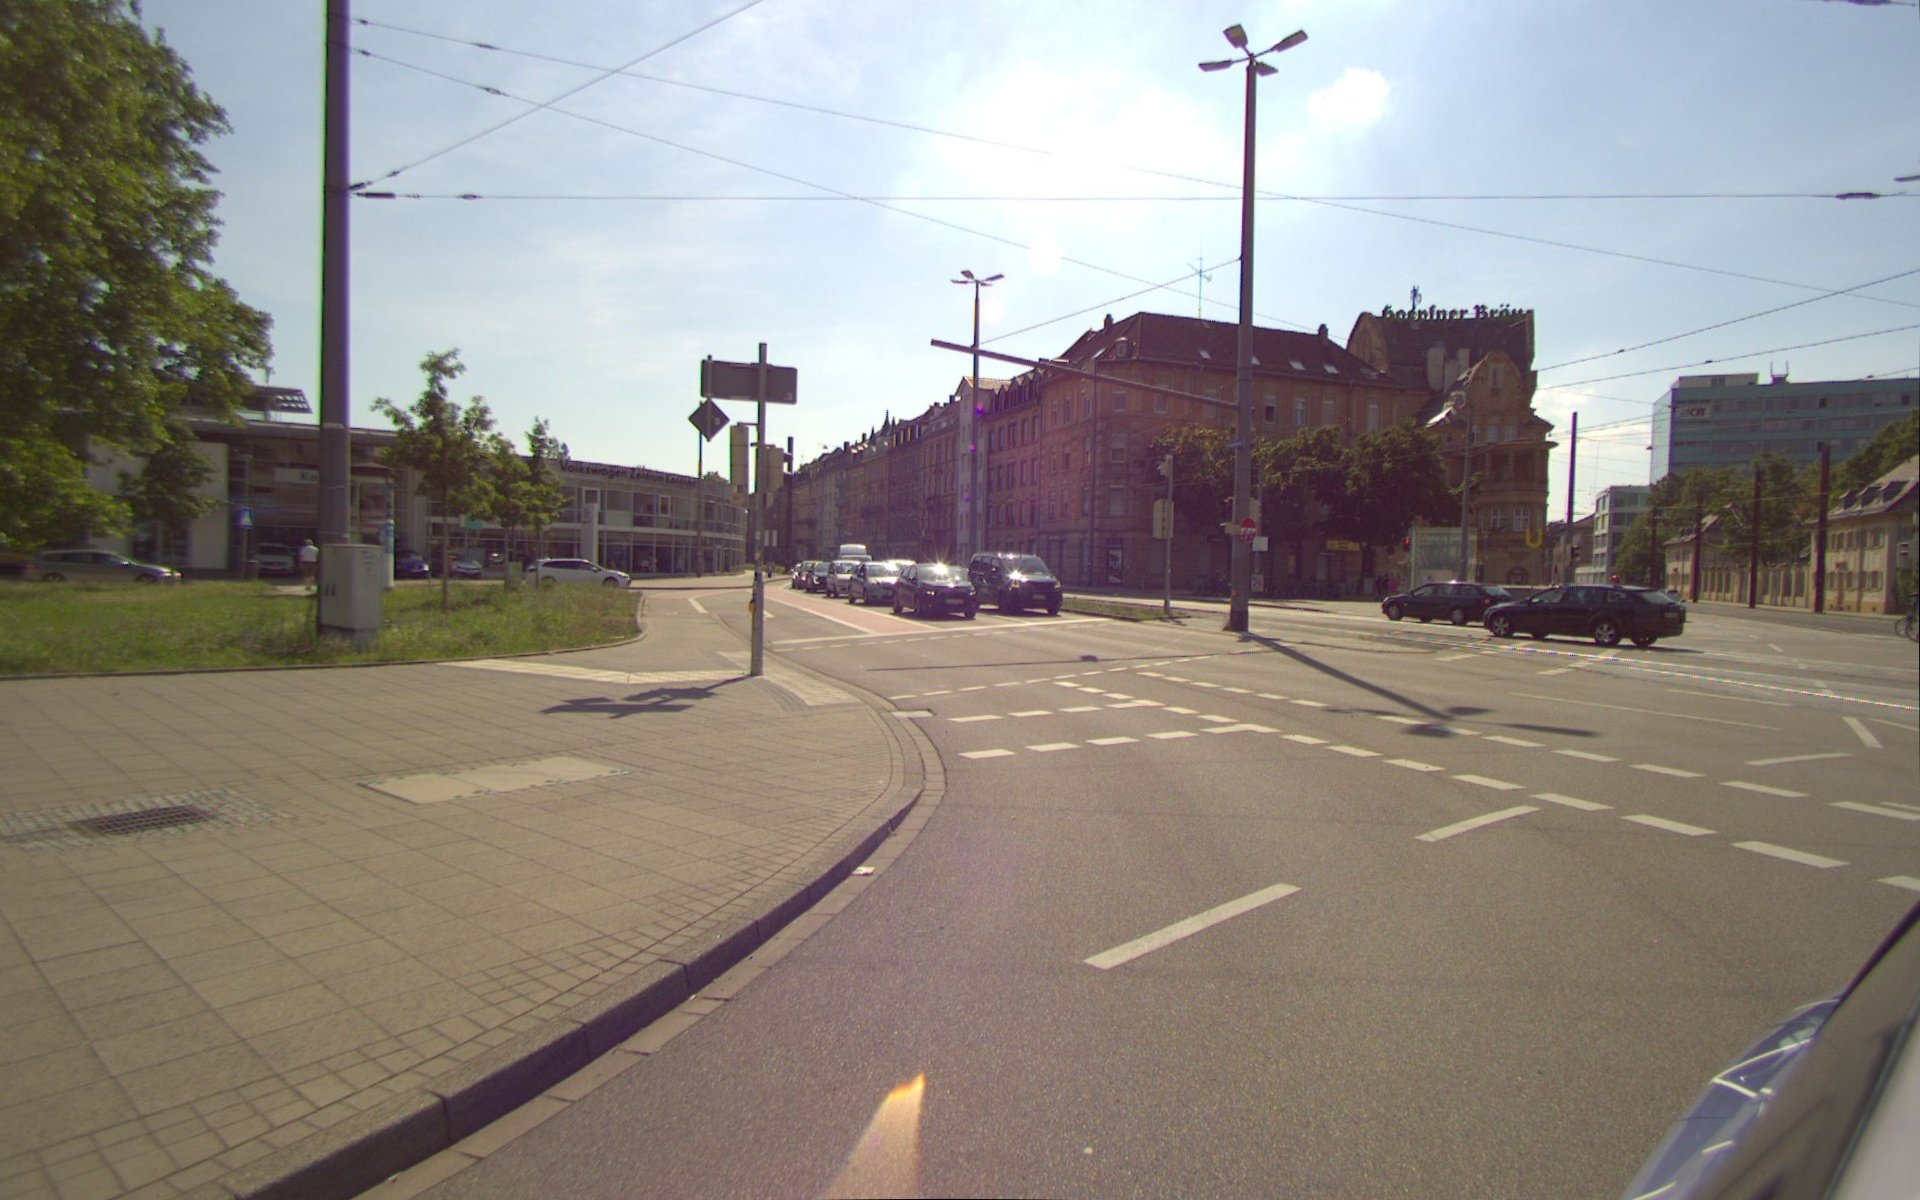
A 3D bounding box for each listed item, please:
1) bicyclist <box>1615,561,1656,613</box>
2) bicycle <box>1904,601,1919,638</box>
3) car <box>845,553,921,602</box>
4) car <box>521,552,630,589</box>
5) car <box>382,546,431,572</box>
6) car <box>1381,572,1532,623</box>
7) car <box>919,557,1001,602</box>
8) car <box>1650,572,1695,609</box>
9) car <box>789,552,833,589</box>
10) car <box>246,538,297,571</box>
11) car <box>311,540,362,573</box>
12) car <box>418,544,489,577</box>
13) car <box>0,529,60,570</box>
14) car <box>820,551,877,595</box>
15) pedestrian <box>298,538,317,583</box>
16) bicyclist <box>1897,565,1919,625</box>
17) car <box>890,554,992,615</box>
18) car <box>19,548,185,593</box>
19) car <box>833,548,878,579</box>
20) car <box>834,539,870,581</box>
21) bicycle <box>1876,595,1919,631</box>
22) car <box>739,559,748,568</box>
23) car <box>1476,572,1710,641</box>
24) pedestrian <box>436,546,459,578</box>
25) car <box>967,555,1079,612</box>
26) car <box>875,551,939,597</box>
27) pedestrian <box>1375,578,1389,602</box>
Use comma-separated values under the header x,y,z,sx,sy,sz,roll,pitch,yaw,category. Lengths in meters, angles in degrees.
x,y,z,sx,sy,sz,roll,pitch,yaw,category
22.436,-0.456,33.633,0.702,1.690,0.876,-2,3,-26,bicyclist
27.713,0.591,28.138,0.701,1.028,2.025,3,0,-21,bicycle
-2.794,-0.788,35.926,1.860,1.607,4.009,1,1,-17,car
-17.524,-1.330,46.262,4.502,1.454,1.447,3,0,-20,car
-29.193,-2.159,53.348,1.801,1.210,4.001,3,0,-35,car
16.487,-0.127,33.857,1.670,1.447,4.408,0,3,-25,car
-0.070,-0.775,38.176,1.860,1.607,4.009,1,1,-19,car
33.108,-0.467,46.995,1.629,1.603,3.948,3,2,36,car
-8.188,-1.594,55.307,1.774,1.869,4.210,1,1,-17,car
-34.304,-2.266,50.421,1.962,1.504,4.001,3,1,-35,car
-32.013,-2.215,51.924,1.962,1.504,4.001,3,1,-35,car
-28.102,-2.210,56.126,3.974,1.638,1.803,3,0,34,car
-42.675,-2.290,45.818,1.959,1.705,4.006,3,0,-29,car
-4.798,-1.125,43.136,1.622,1.760,4.210,1,1,-17,car
-23.907,-1.452,37.091,0.385,1.616,0.465,3,0,-10,pedestrian
30.344,-0.139,31.936,1.048,1.843,0.915,3,0,41,bicyclist
-0.637,-0.478,29.176,1.858,1.607,4.220,1,2,-17,car
-32.661,-1.105,38.715,4.506,1.454,1.975,3,0,-30,car
-6.240,-2.160,60.089,2.147,1.701,5.040,1,2,-11,car
-7.430,-2.655,69.391,2.170,2.608,5.884,3,0,-8,car
30.579,0.445,31.714,2.738,1.082,0.915,3,0,43,bicycle
-51.537,-8.645,241.113,1.958,2.038,4.010,1,2,-14,car
15.677,0.089,25.394,1.603,1.453,4.788,1,2,-28,car
-26.654,-1.949,52.601,0.938,1.600,0.534,3,0,-37,pedestrian
1.864,-0.578,31.586,1.926,1.607,4.728,1,2,-17,car
-2.423,-1.167,45.374,1.860,1.940,4.210,1,1,-17,car
25.910,-0.627,62.182,0.703,1.451,0.610,3,0,19,pedestrian
